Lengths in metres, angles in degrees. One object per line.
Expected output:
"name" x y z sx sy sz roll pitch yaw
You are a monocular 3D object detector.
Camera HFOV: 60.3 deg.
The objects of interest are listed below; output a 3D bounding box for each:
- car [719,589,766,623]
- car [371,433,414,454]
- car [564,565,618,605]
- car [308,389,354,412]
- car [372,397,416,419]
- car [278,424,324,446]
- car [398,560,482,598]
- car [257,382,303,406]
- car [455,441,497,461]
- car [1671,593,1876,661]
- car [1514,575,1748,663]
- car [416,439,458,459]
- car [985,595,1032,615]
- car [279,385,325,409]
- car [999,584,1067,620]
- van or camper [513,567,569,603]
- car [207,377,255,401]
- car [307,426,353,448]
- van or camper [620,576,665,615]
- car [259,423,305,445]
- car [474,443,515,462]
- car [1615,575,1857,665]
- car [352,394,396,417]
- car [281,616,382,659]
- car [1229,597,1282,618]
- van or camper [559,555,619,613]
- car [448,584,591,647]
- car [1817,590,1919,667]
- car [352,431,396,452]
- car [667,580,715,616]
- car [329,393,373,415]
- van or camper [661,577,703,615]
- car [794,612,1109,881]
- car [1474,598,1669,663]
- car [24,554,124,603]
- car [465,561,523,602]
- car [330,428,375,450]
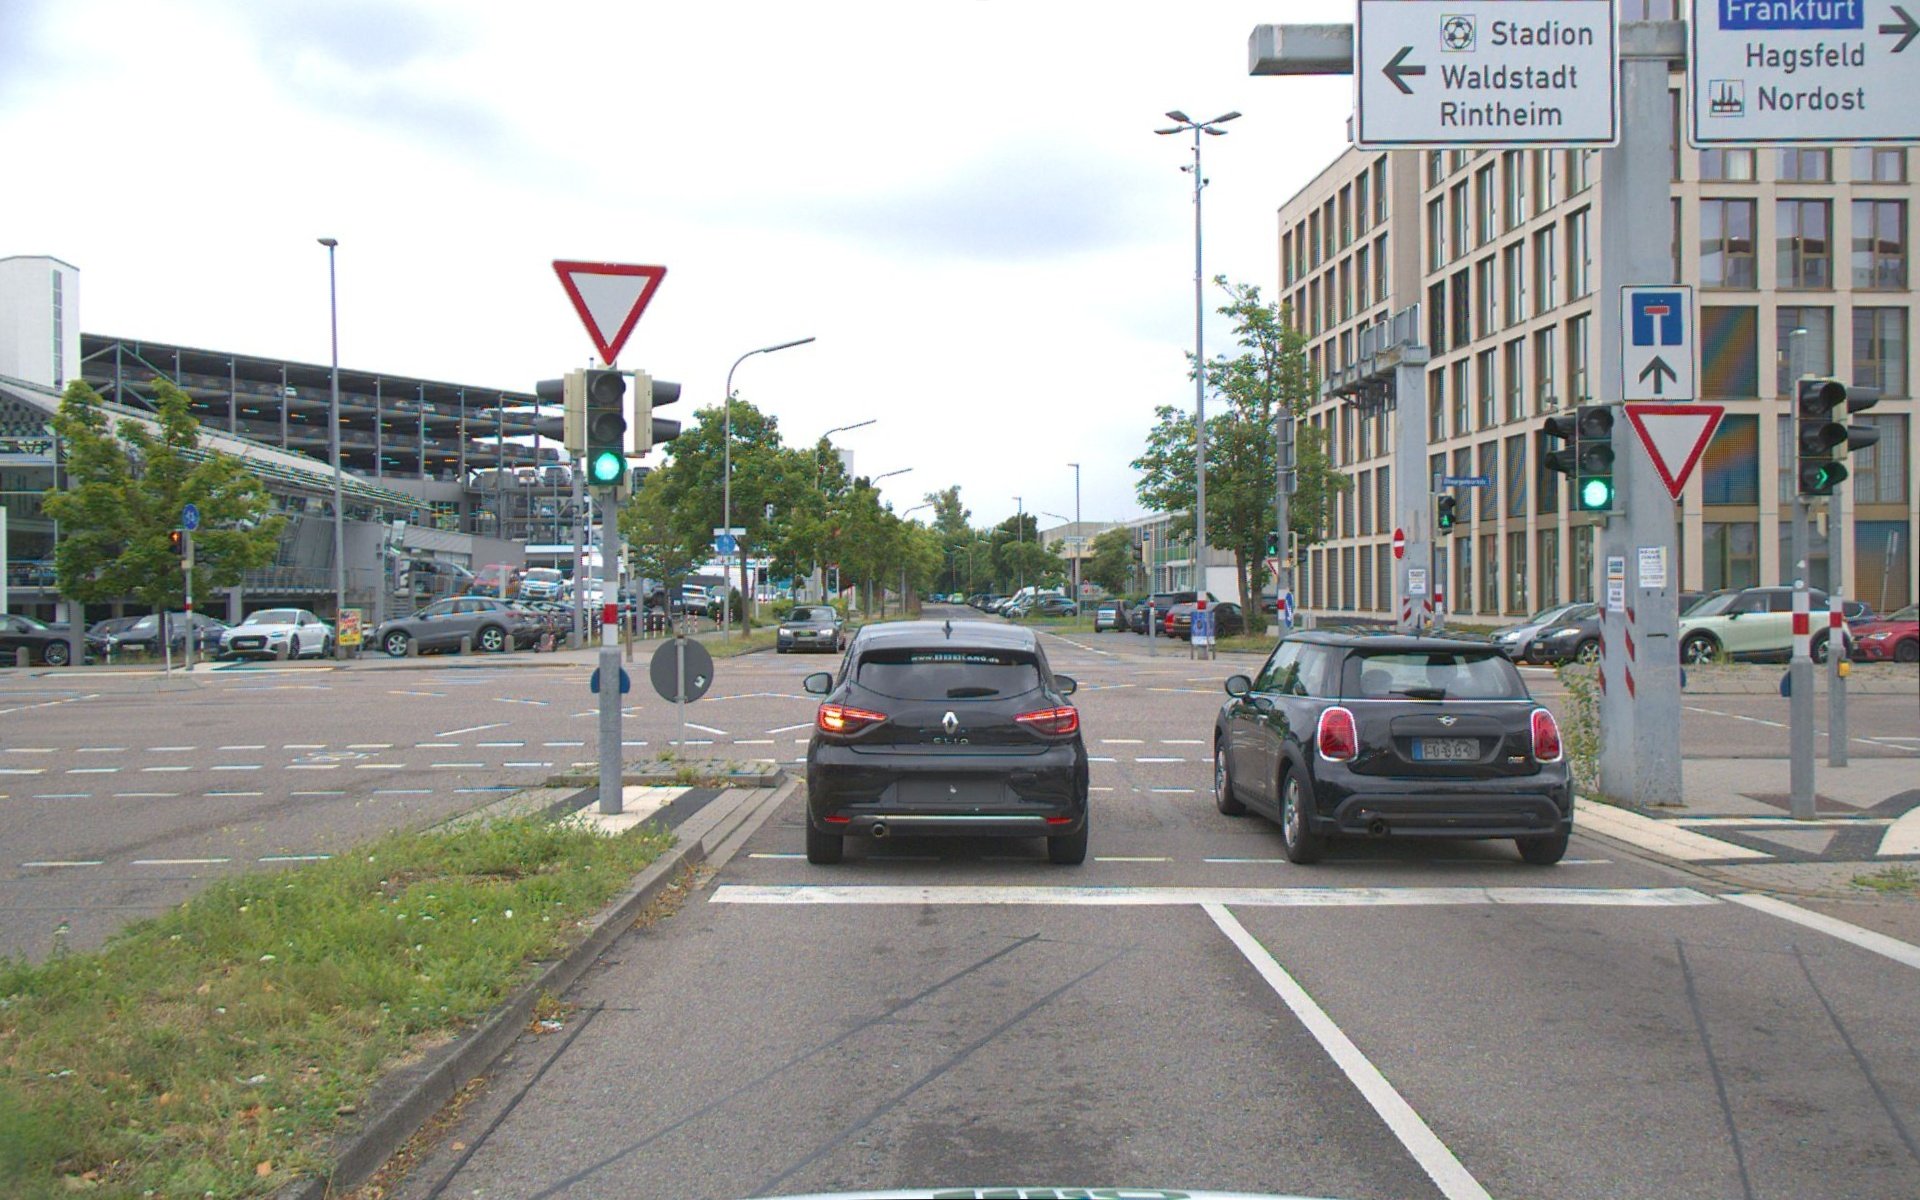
"car" -10.816 0.317 82.552 1.953 1.646 3.998 1 -1 -2
"car" -55.045 -15.166 160.443 3.914 1.696 1.995 0 0 32
"car" -18.128 -0.700 81.467 1.954 1.855 3.996 1 -1 -4
"car" -58.715 -18.570 154.378 3.914 1.696 1.995 0 0 32
"car" -54.979 -18.585 160.551 3.914 1.696 1.995 0 0 32
"car" -60.561 -15.129 151.987 3.914 1.696 1.995 0 0 32
"car" -27.647 -1.117 88.046 3.907 1.870 1.759 1 -1 -3
"car" -61.603 -18.670 149.842 3.914 1.696 1.995 0 0 32
"car" -49.694 -15.254 169.785 3.914 1.696 1.995 0 0 32
"car" 19.559 0.652 39.844 4.055 1.517 1.870 1 -1 -5
"car" 14.670 0.424 36.291 4.321 1.800 1.998 1 -1 -5
"car" -52.287 -15.122 165.389 3.914 1.696 1.995 0 0 32
"car" 5.087 0.521 173.788 4.690 1.924 2.142 1 -1 -3
"car" -60.356 -18.618 151.722 3.914 1.696 1.995 0 0 32
"car" 6.583 0.201 149.828 5.993 3.171 2.133 1 -1 -2
"van or camper" -20.544 -0.714 81.318 1.954 1.680 3.996 1 -1 -4
"car" -64.114 -18.529 145.373 3.914 1.696 1.995 0 0 32
"car" -58.769 -15.181 154.234 3.914 1.696 1.995 0 0 32
"van or camper" -17.743 -0.229 92.689 1.954 2.049 3.996 1 -1 -4
"car" -61.431 -15.041 149.896 3.914 1.696 1.995 0 0 32
"car" -48.456 -15.333 172.321 3.914 1.696 1.995 0 0 32
"car" 15.444 0.405 33.021 3.977 1.672 1.903 1 -1 -6
"car" -56.233 -18.645 158.716 3.914 1.696 1.995 0 0 32
"car" -28.519 1.699 75.133 3.910 1.870 1.757 1 -1 -6
"car" 19.534 0.507 109.343 3.181 1.356 1.477 1 -1 -19
"van or camper" -20.658 -0.841 92.361 2.486 3.080 4.839 1 -1 -4
"car" -15.846 0.549 59.689 4.682 2.049 1.997 -2 -1 -7
"car" 21.506 0.658 36.757 3.908 1.629 1.998 1 -1 -4
"car" -56.190 -15.189 158.580 3.914 1.696 1.995 0 0 32
"car" -13.263 -0.082 81.750 1.954 1.646 3.996 1 -1 -4
"car" -57.588 -18.518 156.400 3.914 1.696 1.995 0 0 32
"van or camper" -15.589 -0.188 92.901 1.954 2.049 3.996 1 -1 -4
"car" -0.062 0.844 11.166 1.721 1.460 3.999 1 -1 -1
"car" 14.591 0.721 39.571 4.004 1.457 1.749 1 -1 -5
"car" -32.556 -0.762 60.910 1.784 1.691 3.995 1 -1 -5
"car" -22.947 -0.871 81.536 1.954 1.881 3.996 1 -1 -4
"car" -57.462 -15.191 156.372 3.914 1.696 1.995 0 0 32
